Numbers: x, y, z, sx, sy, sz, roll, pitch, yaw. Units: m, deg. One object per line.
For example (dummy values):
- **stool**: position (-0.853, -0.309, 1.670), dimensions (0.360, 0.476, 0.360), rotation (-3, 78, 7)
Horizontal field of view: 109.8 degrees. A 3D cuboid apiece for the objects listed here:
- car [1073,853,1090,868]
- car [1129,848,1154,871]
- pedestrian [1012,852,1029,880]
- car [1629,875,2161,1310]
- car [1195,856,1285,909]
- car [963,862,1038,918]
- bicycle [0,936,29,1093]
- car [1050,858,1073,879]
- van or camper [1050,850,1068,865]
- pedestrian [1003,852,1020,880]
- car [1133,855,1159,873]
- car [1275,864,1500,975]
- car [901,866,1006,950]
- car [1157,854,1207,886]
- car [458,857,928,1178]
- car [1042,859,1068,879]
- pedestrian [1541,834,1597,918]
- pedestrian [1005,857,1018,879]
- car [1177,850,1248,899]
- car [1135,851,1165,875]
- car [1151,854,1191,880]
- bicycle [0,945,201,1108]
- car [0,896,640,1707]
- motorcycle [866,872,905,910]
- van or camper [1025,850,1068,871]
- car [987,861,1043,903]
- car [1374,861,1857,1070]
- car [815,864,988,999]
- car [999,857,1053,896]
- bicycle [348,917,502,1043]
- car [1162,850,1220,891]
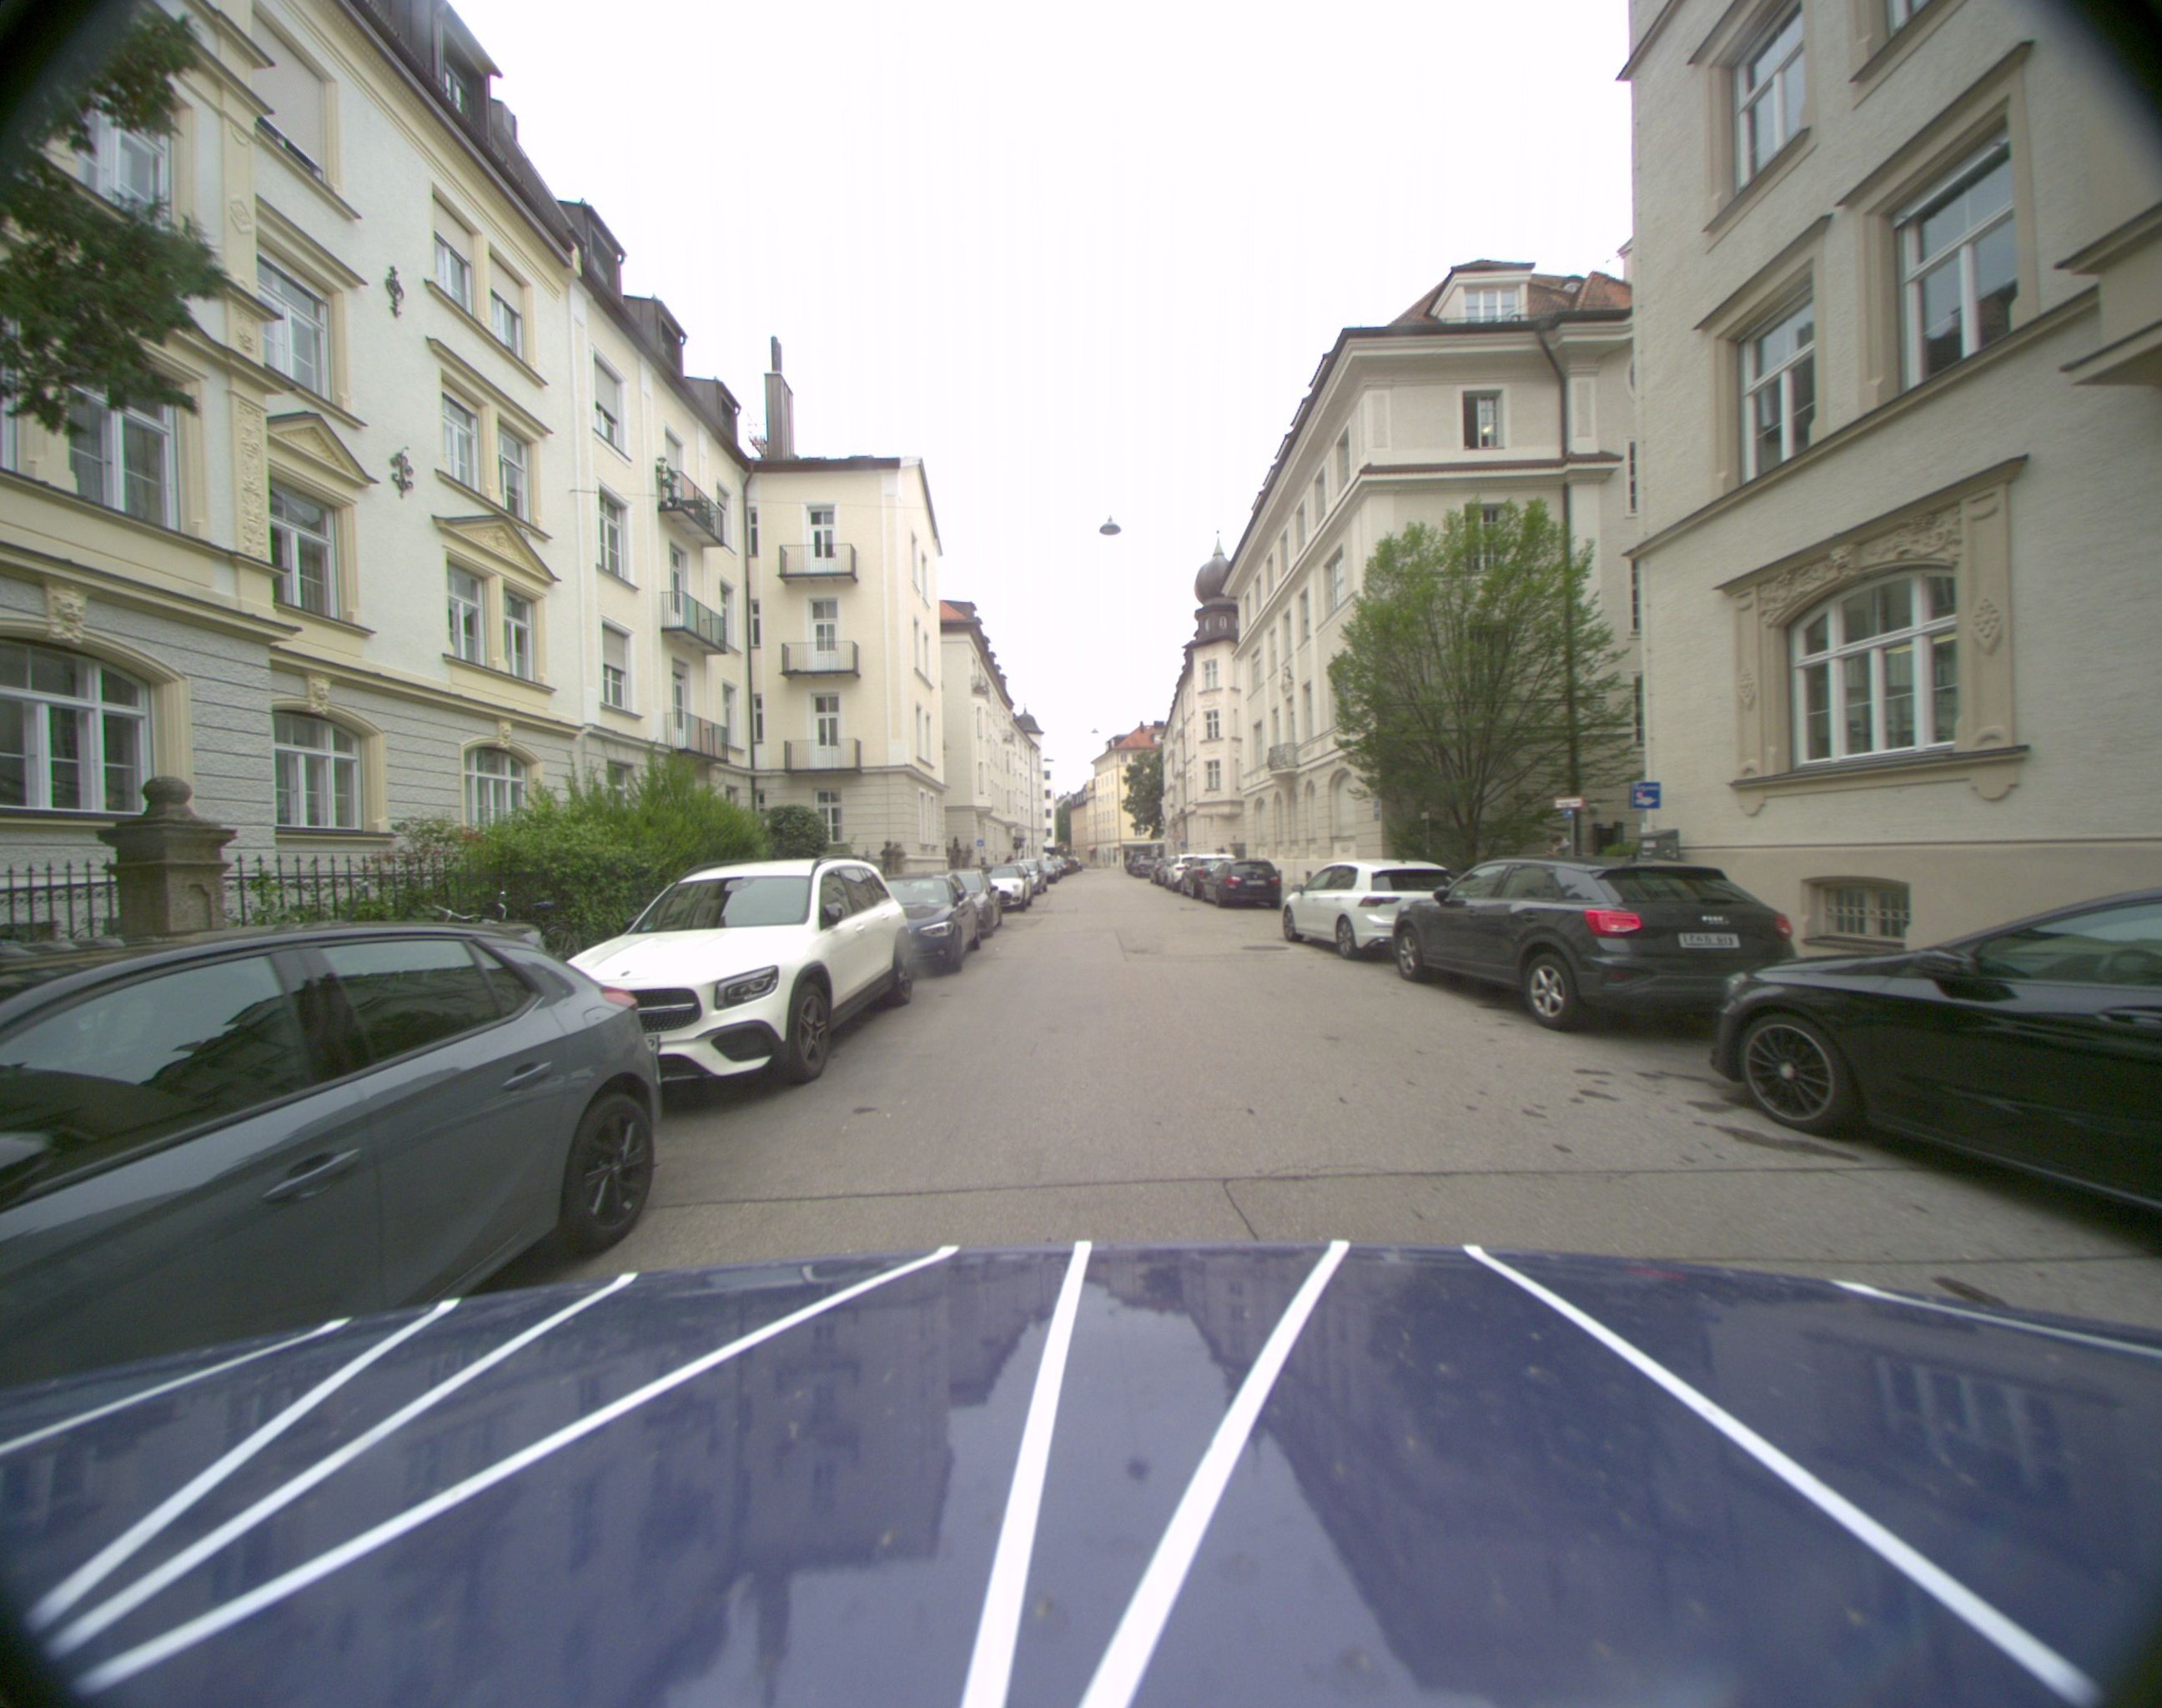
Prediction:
- **car**: position (0.067, 0.816, 93.368), dimensions (1.840, 1.609, 4.095), rotation (-5, 0, 3)
- **car**: position (5.237, 0.486, 65.892), dimensions (1.841, 1.883, 4.763), rotation (0, 0, 0)
- **pedestrian**: position (-3.882, 0.752, 48.854), dimensions (0.885, 1.776, 1.111), rotation (-1, 1, 2)
- **car**: position (4.615, 0.846, 2.829), dimensions (1.838, 1.425, 4.553), rotation (0, 0, -1)
- **car**: position (4.681, 0.785, 22.991), dimensions (1.791, 1.404, 4.367), rotation (-2, 0, 0)
- **car**: position (-2.440, 1.061, 23.956), dimensions (1.789, 1.495, 4.065), rotation (-3, 0, 1)
- **bicycle**: position (-9.113, 1.279, 5.678), dimensions (1.704, 1.176, 0.489), rotation (-3, 1, -1)
- **car**: position (-1.747, 1.295, 68.699), dimensions (1.804, 1.665, 4.189), rotation (-5, 0, 0)
- **van or camper**: position (-3.989, 0.628, 136.887), dimensions (1.968, 2.494, 5.717), rotation (-2, 0, -13)
- **pedestrian**: position (-4.584, 0.763, 50.138), dimensions (0.885, 1.801, 1.111), rotation (-1, 1, 5)
- **car**: position (5.102, 0.748, 60.388), dimensions (1.841, 1.386, 4.245), rotation (0, 0, 2)
- **car**: position (4.602, 0.890, 12.186), dimensions (1.841, 1.425, 4.244), rotation (0, 0, -1)
- **car**: position (-2.674, 1.082, 16.770), dimensions (1.688, 1.495, 4.017), rotation (-3, 0, -2)
- **car**: position (5.023, 0.774, 38.286), dimensions (1.787, 1.532, 4.256), rotation (0, 0, -3)
- **car**: position (-2.795, 1.006, 6.811), dimensions (1.727, 1.759, 4.413), rotation (-5, 1, 1)
- **car**: position (-2.025, 1.151, 59.350), dimensions (1.841, 1.391, 4.973), rotation (-4, 0, -2)
- **pedestrian**: position (9.723, 0.426, 15.146), dimensions (0.675, 1.616, 0.631), rotation (-2, 1, -2)
- **pedestrian**: position (-5.793, 1.184, 63.572), dimensions (0.885, 1.803, 1.111), rotation (-2, 0, 2)
- **car**: position (4.701, 0.707, 27.740), dimensions (1.841, 1.609, 4.244), rotation (-2, 0, 0)
- **car**: position (4.876, 0.602, 54.127), dimensions (1.731, 1.609, 4.121), rotation (0, 0, -1)
- **car**: position (5.021, 0.697, 42.980), dimensions (1.797, 1.407, 4.278), rotation (0, 0, 0)
- **bicycle**: position (-7.555, 1.277, 5.698), dimensions (1.312, 1.092, 0.456), rotation (-2, 1, -1)
- **car**: position (-2.785, 1.015, 1.425), dimensions (1.727, 1.510, 3.630), rotation (-5, 1, -1)
- **motorcycle**: position (-6.307, 1.180, 24.637), dimensions (0.608, 1.106, 1.965), rotation (-1, 0, 4)
- **van or camper**: position (-5.003, 0.943, 109.496), dimensions (5.869, 2.697, 2.304), rotation (-2, -2, -6)
- **car**: position (-2.494, 1.045, 29.383), dimensions (1.758, 1.398, 3.451), rotation (-3, 0, 1)
- **car**: position (4.786, 0.844, 7.786), dimensions (1.775, 1.509, 4.384), rotation (1, 0, -1)
- **car**: position (-2.567, 1.017, 11.948), dimensions (1.755, 1.601, 4.423), rotation (-4, 0, -3)
- **car**: position (-2.465, 0.982, 35.060), dimensions (1.826, 1.560, 4.401), rotation (-5, 0, 3)
- **bicycle**: position (-6.879, 1.281, 8.049), dimensions (0.455, 1.092, 1.313), rotation (-2, 1, -1)
- **car**: position (4.715, 0.689, 33.141), dimensions (1.920, 1.609, 4.571), rotation (-2, 0, 1)
